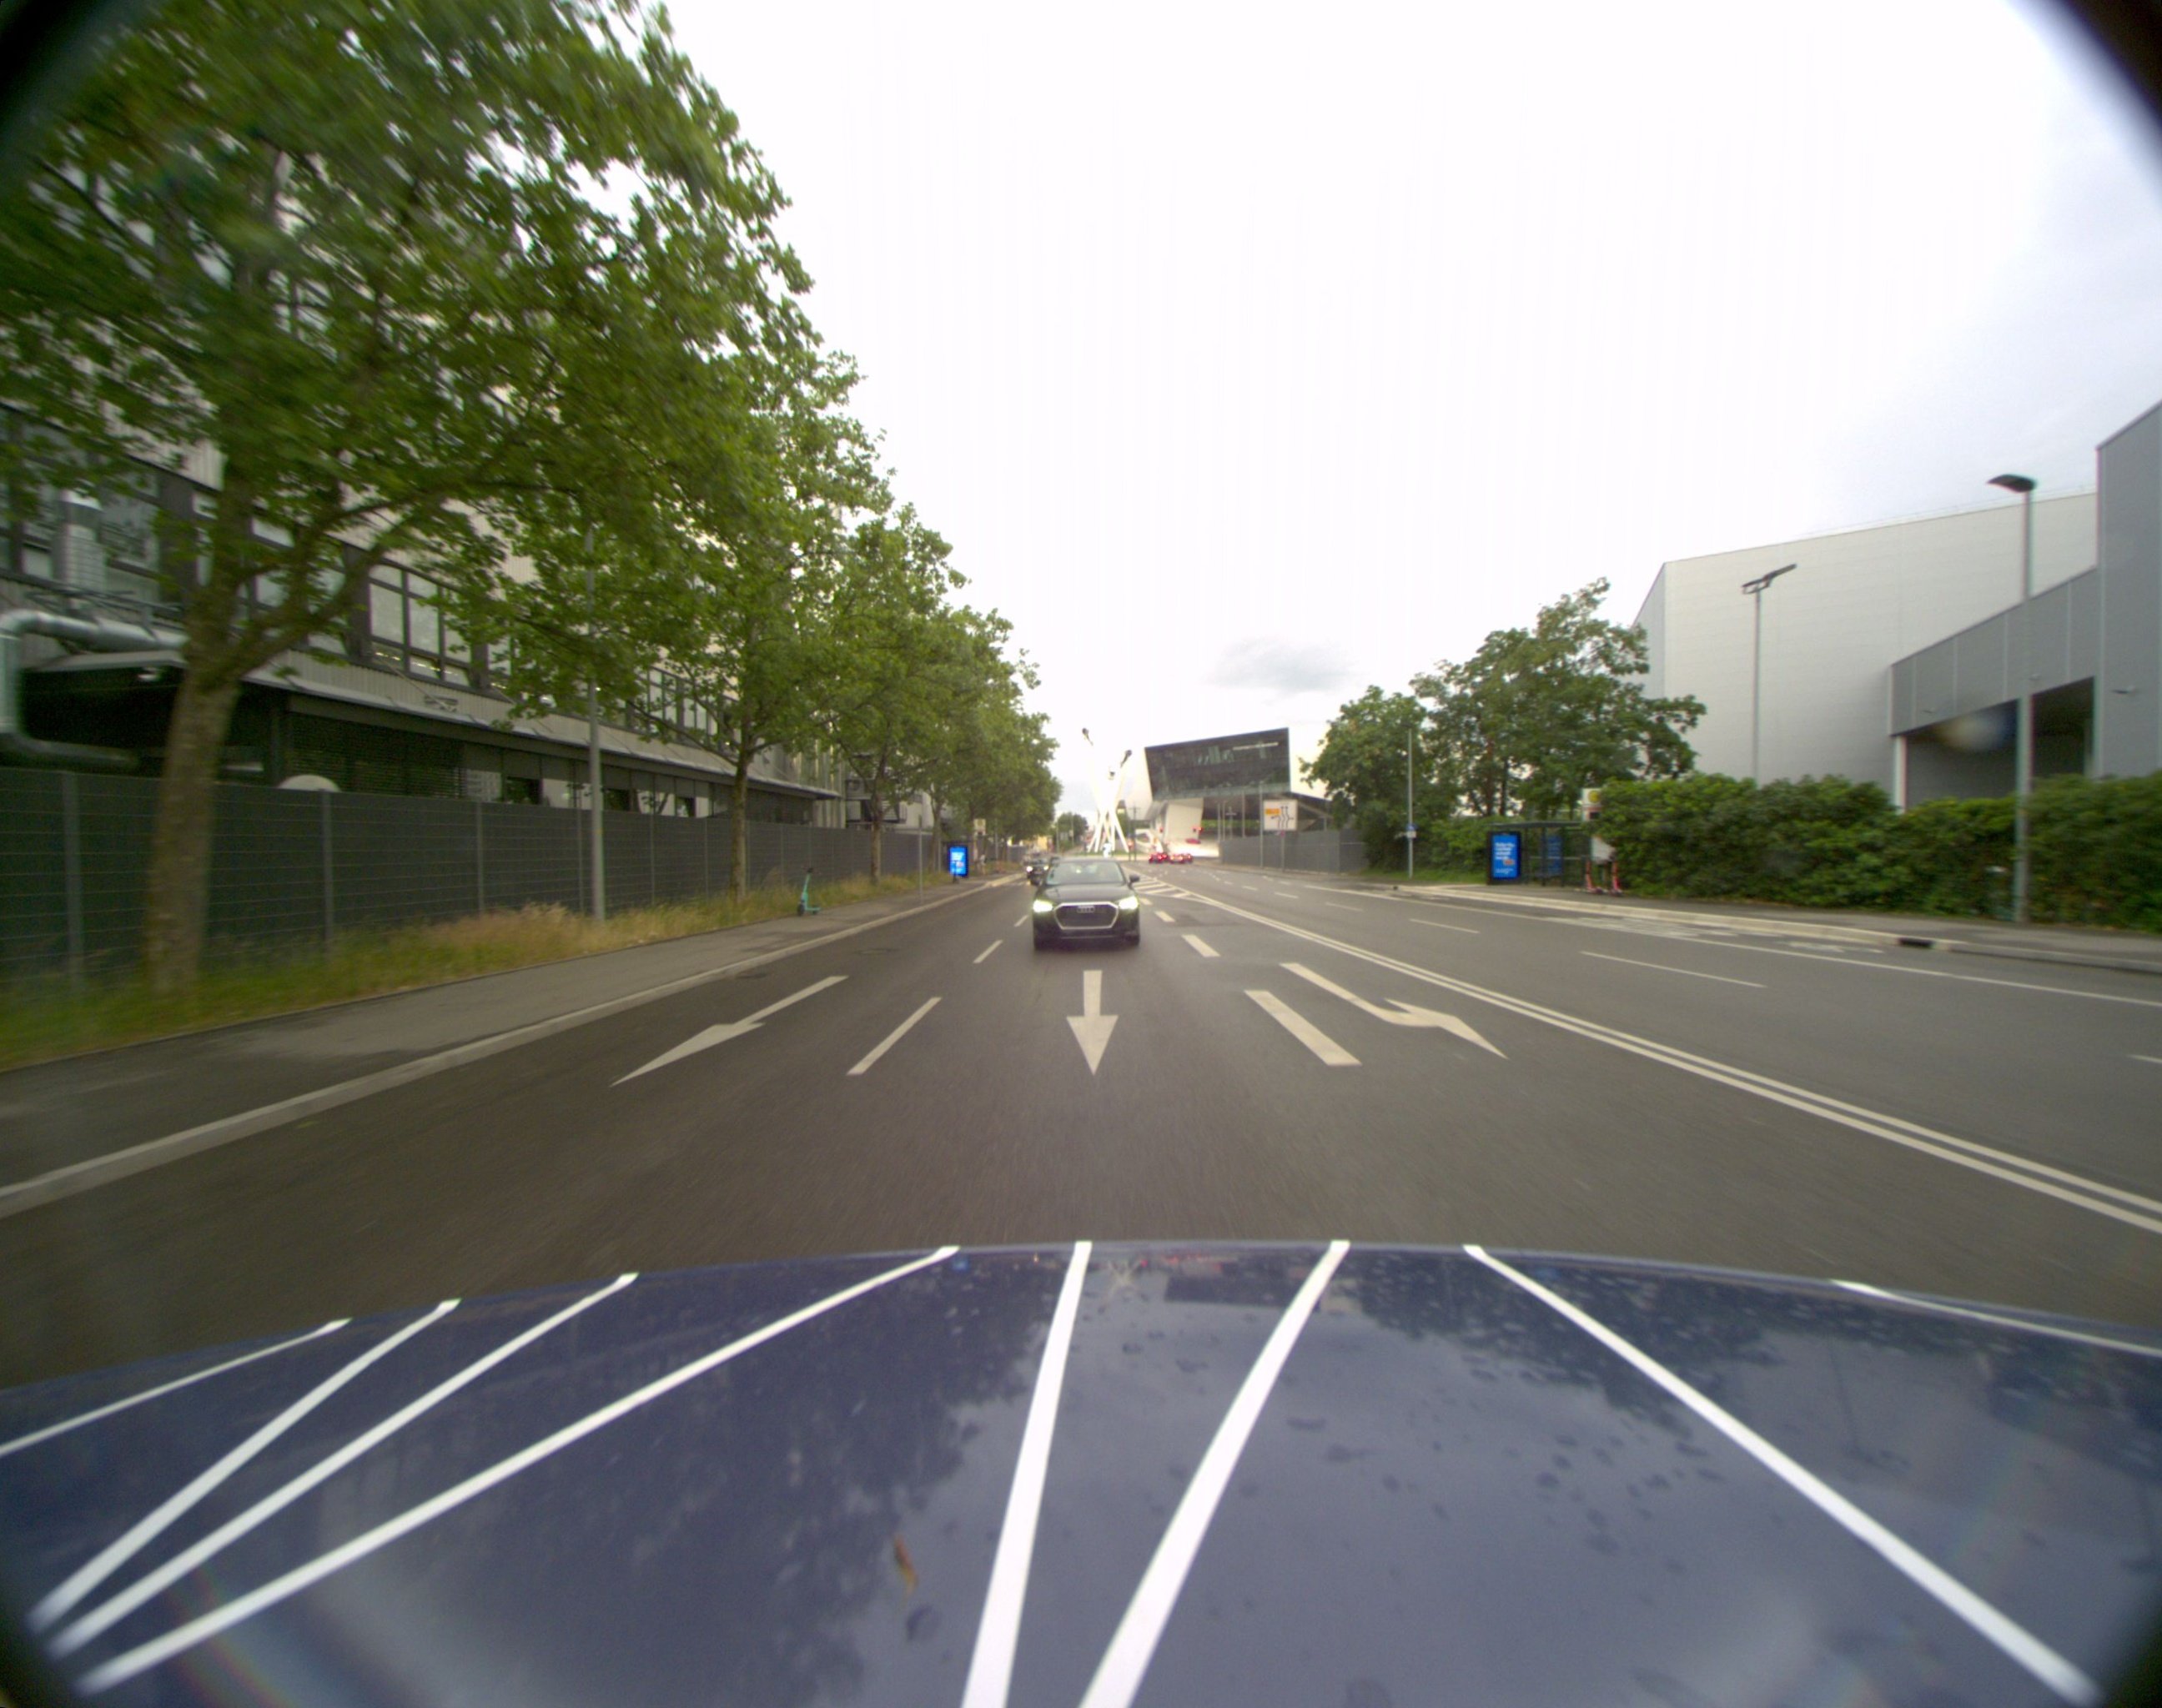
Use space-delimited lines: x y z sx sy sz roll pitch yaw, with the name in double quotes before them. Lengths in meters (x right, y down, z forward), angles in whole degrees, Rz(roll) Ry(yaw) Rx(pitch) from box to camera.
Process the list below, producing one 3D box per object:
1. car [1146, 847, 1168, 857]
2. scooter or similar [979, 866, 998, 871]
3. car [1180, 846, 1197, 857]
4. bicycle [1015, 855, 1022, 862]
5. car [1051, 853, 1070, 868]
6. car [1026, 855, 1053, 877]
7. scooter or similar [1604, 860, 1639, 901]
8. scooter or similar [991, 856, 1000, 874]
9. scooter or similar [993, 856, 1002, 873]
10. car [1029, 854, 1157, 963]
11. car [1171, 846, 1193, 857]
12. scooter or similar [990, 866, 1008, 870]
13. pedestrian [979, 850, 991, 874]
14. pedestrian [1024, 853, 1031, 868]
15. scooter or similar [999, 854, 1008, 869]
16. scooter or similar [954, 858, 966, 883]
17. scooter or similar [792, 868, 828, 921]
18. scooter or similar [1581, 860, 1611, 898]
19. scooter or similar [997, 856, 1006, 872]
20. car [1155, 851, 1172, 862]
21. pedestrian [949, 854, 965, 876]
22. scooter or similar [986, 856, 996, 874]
"car" 10.910 -0.279 108.540 2.255 1.469 3.884 0 1 18
"scooter or similar" -7.771 1.214 64.116 1.098 0.343 1.260 0 1 24
"car" 16.064 -0.346 113.590 1.861 1.641 3.793 0 0 20
"bicycle" -7.780 0.582 94.296 0.727 0.870 1.904 -2 1 0
"car" -2.040 0.645 77.099 1.842 1.444 4.785 -2 0 -1
"car" -2.932 0.802 54.322 1.881 1.485 4.075 0 0 -3
"scooter or similar" 16.331 0.789 22.988 0.379 1.174 1.379 0 1 14
"scooter or similar" -6.515 0.825 57.755 0.437 1.288 1.301 -1 1 4
"scooter or similar" -6.597 0.816 59.922 0.437 1.288 1.301 -1 1 4
"car" 0.152 0.847 14.444 1.951 1.609 5.276 -2 0 -1
"car" 14.222 -0.305 106.666 2.267 1.469 4.052 0 1 18
"scooter or similar" -7.214 1.232 66.923 1.184 0.309 1.200 -1 1 -28
"pedestrian" -6.806 0.555 53.981 0.778 1.700 0.729 -1 1 0
"pedestrian" -6.020 0.741 85.657 0.723 1.610 0.833 2 1 -1
"scooter or similar" -6.608 0.642 64.730 0.437 1.278 1.301 0 1 8
"scooter or similar" -6.610 0.888 41.452 0.329 1.301 1.246 -1 1 5
"scooter or similar" -6.813 0.991 19.139 0.329 1.262 1.109 0 1 9
"scooter or similar" 16.531 0.789 24.387 0.389 1.173 1.251 0 1 14
"scooter or similar" -6.473 0.802 61.850 0.437 1.288 1.368 0 1 8
"car" 12.402 0.321 113.726 1.878 1.641 3.857 0 0 17
"pedestrian" -8.187 0.734 50.187 0.932 1.408 0.698 -1 1 0
"scooter or similar" -6.669 0.807 56.402 0.437 1.288 1.301 -1 1 4
